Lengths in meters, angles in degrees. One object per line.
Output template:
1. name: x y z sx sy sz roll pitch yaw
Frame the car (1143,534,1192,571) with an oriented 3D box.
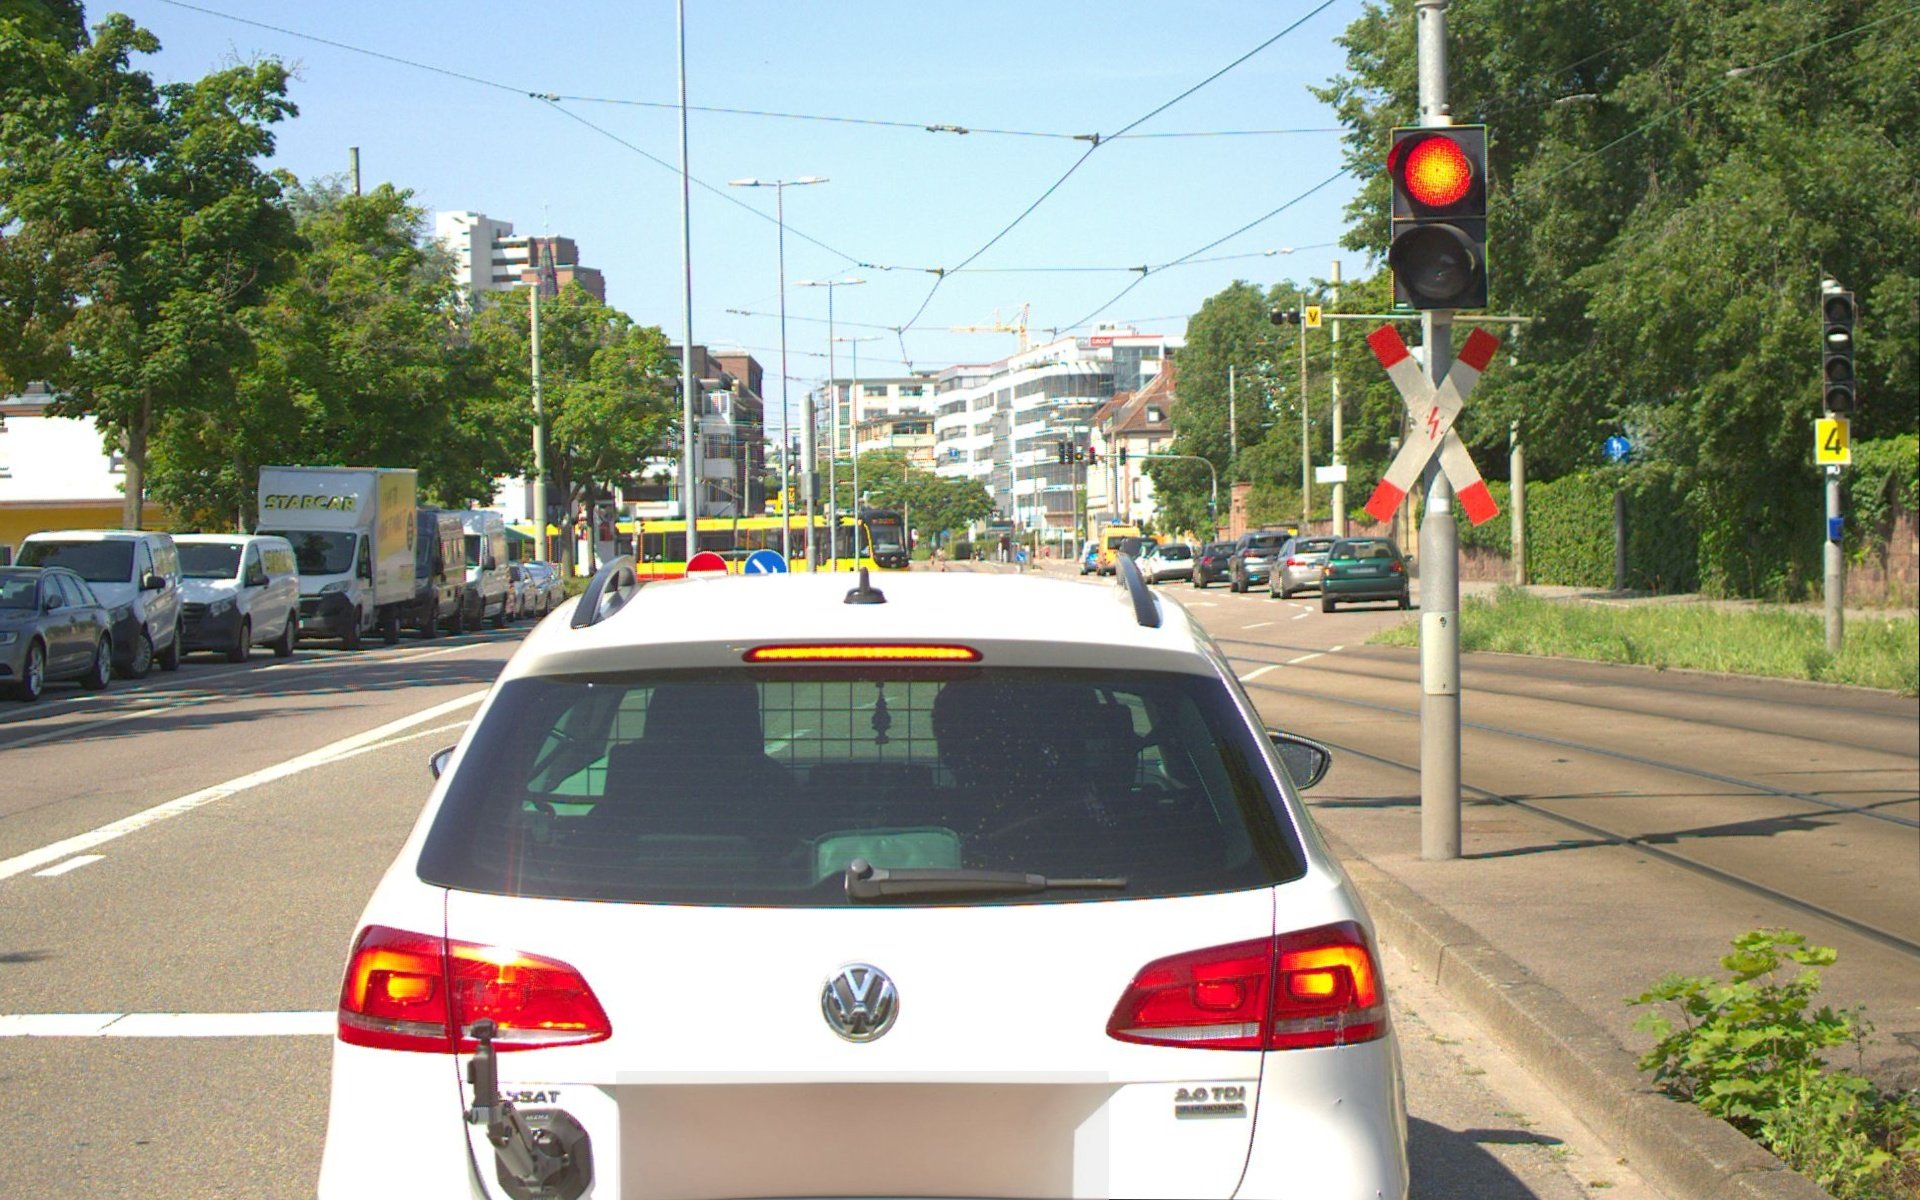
1. car: 7.763 -1.779 128.841 1.581 1.341 3.454 1 0 -1

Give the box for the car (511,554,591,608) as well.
1. car: -11.521 -0.561 97.008 1.780 1.428 4.038 -1 1 -1

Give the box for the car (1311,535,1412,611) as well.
1. car: 7.654 -0.529 65.327 1.746 1.383 3.912 1 1 9

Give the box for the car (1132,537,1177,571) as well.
1. car: 7.927 -1.855 140.333 1.581 1.341 3.454 1 0 -1

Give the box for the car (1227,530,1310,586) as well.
1. car: 8.538 -1.179 95.446 1.861 1.508 3.913 1 1 -1

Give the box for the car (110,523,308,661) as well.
1. car: -11.362 -0.165 52.333 1.843 1.954 5.134 -1 1 0

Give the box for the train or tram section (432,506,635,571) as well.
1. train or tram section: -22.449 -3.254 180.667 10.998 3.241 2.305 1 0 25

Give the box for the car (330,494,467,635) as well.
1. car: -11.110 -0.736 68.349 1.843 2.659 5.003 -1 1 0

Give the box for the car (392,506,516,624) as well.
1. car: -11.162 -0.807 76.215 1.843 2.486 5.857 -1 1 0

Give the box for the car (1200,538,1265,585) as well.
1. car: 8.546 -1.226 108.173 1.746 1.403 3.913 1 1 0

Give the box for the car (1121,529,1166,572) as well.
1. car: 7.948 -2.135 149.371 1.691 1.806 3.454 1 0 -1

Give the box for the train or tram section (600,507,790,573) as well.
1. train or tram section: -13.584 -3.073 175.276 10.795 3.241 2.304 1 0 37

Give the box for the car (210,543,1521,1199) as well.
1. car: -0.179 0.632 6.631 1.768 1.441 3.913 1 1 -1

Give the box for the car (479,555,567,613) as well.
1. car: -11.642 -0.444 91.777 1.843 1.428 4.038 -1 1 -1

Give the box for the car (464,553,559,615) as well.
1. car: -11.172 -0.412 85.866 1.843 1.428 4.038 -1 1 -1

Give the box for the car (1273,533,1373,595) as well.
1. car: 8.703 -0.880 82.698 1.861 1.412 4.325 1 1 -1

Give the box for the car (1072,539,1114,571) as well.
1. car: 6.981 -2.348 180.653 1.993 1.590 4.000 1 0 0

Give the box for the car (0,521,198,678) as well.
1. car: -11.481 -0.052 45.776 1.843 1.930 5.195 -2 1 -4

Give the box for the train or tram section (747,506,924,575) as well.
1. train or tram section: -6.183 -2.901 167.784 2.302 3.241 11.271 1 0 -39

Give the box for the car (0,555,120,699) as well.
1. car: -10.970 0.287 39.010 1.843 1.511 4.197 -1 1 -1

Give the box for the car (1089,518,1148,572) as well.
1. car: 7.645 -2.628 166.139 2.463 2.490 5.910 1 0 -1

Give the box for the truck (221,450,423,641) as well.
1. truck: -11.145 -0.979 60.612 2.356 3.112 6.892 -1 1 -1
